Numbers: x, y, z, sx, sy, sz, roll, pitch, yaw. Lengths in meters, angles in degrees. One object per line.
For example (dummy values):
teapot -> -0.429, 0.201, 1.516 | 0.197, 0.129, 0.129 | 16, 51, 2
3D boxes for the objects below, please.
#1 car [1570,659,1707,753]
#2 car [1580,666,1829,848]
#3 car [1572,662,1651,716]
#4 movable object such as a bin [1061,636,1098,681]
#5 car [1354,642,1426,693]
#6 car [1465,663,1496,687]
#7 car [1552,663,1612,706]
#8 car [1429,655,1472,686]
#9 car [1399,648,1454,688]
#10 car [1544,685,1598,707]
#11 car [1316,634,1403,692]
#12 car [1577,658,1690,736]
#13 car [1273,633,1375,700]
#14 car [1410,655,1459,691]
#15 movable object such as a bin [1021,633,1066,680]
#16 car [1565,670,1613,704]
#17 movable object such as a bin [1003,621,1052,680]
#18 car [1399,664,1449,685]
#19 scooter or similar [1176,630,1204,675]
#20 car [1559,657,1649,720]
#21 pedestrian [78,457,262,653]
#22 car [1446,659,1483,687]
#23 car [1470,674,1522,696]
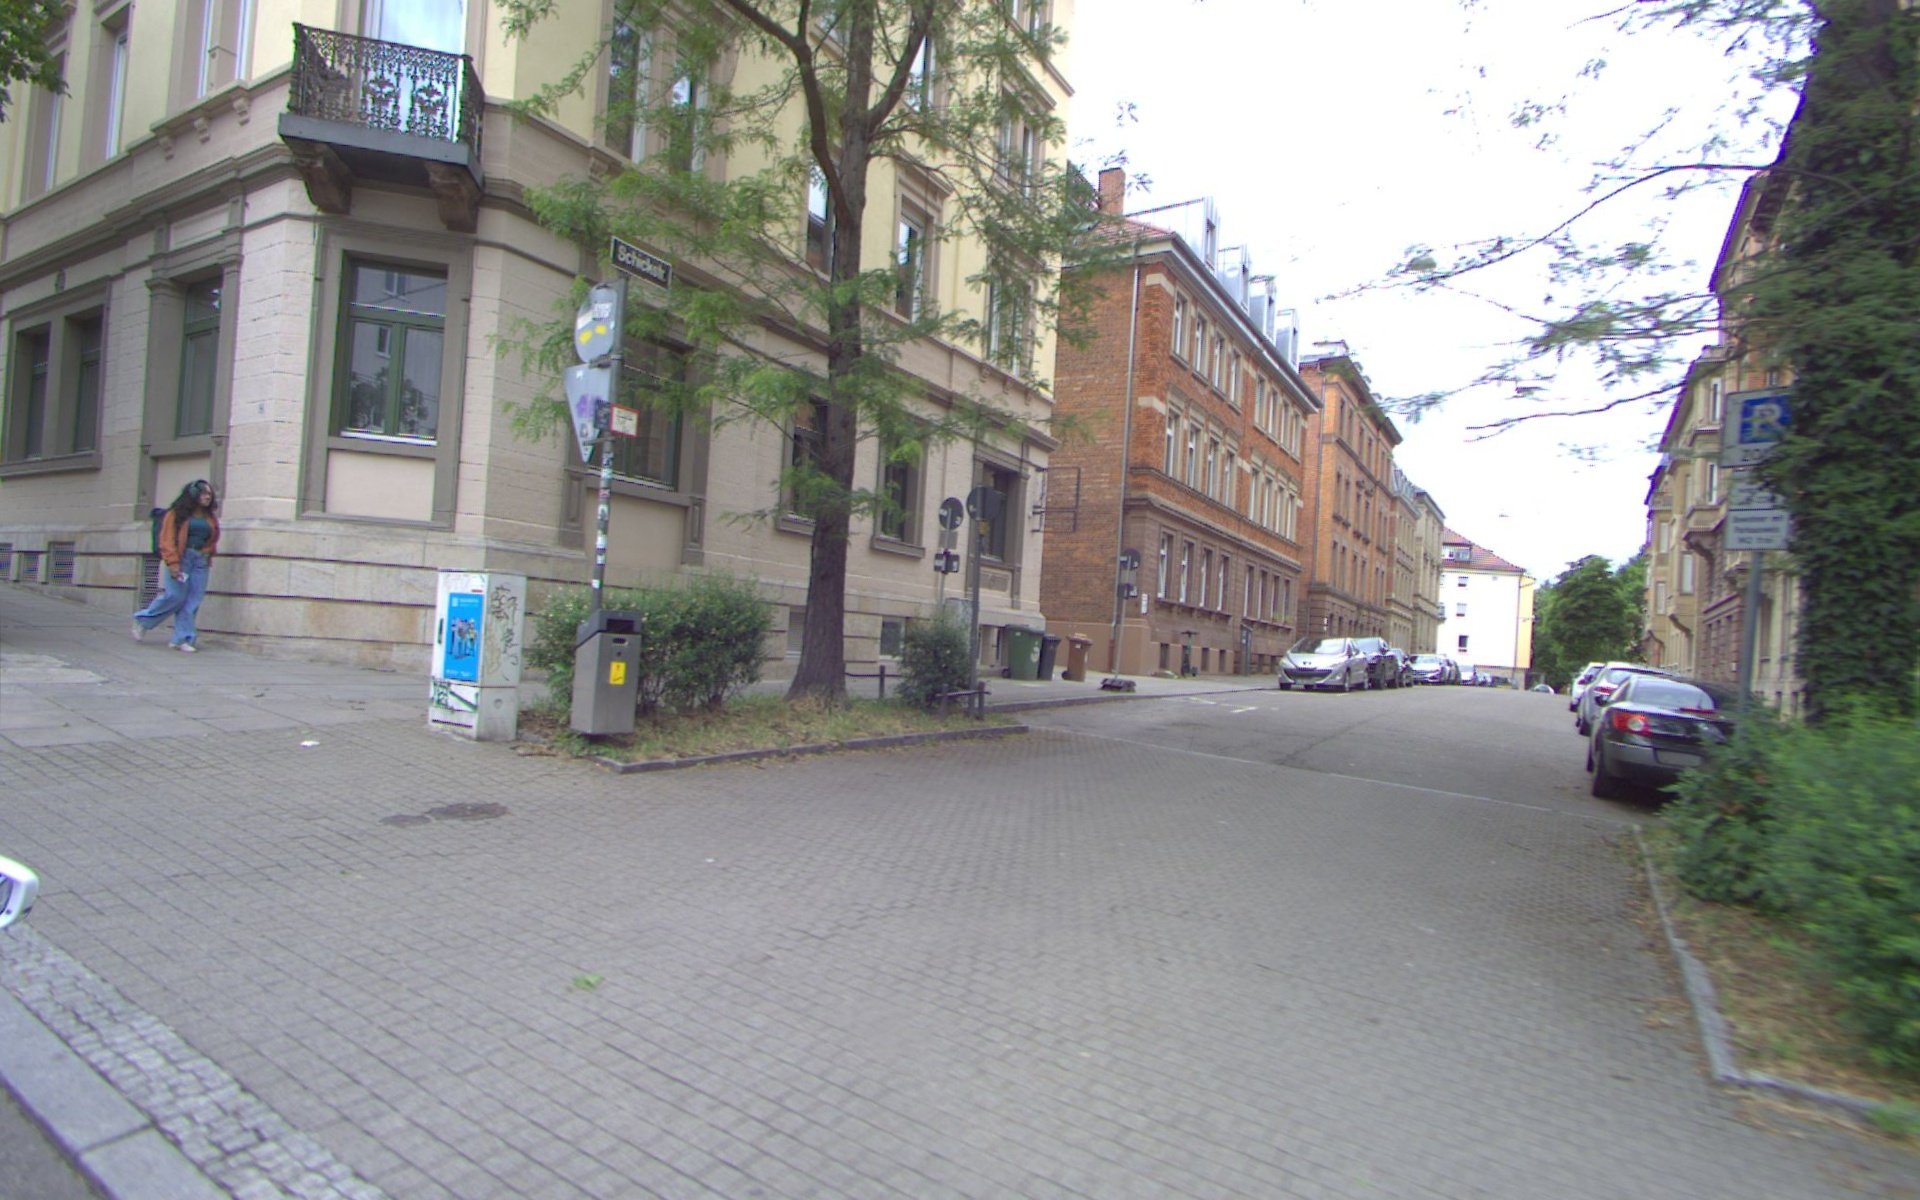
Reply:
car -> 13.010, 1.963, 19.517 | 1.781, 1.396, 4.091 | 7, 0, 30
car -> 8.494, 1.649, 11.858 | 1.781, 1.397, 4.088 | 7, 2, 30
car -> 20.743, 2.792, 32.154 | 1.781, 1.396, 4.036 | 7, 0, 30
movable object such as a bin -> 2.531, 1.235, 21.282 | 0.539, 0.893, 0.488 | 7, 2, 32
car -> 15.821, 2.426, 36.884 | 1.781, 1.492, 4.088 | 7, 2, 31
car -> 40.577, 5.842, 78.362 | 1.781, 1.492, 4.088 | 7, 2, 31
car -> 24.773, 3.384, 40.157 | 1.781, 1.395, 4.039 | 7, -1, 30
car -> 28.801, 4.107, 59.006 | 1.781, 1.492, 4.088 | 7, 2, 31
car -> 21.623, 3.102, 46.534 | 1.781, 1.492, 4.088 | 7, 2, 31
car -> 59.889, 9.389, 98.625 | 4.021, 1.492, 1.810 | 6, 2, 7
car -> 12.644, 1.937, 31.709 | 1.781, 1.492, 4.088 | 7, 2, 31
car -> 15.458, 2.165, 23.274 | 1.781, 1.396, 4.036 | 7, 1, 30
car -> 10.095, 1.763, 27.694 | 1.781, 1.492, 4.088 | 7, 2, 31
car -> 24.513, 3.710, 51.863 | 1.781, 1.492, 4.088 | 7, 2, 31
movable object such as a bin -> 1.685, 1.148, 20.331 | 0.619, 0.863, 0.600 | 7, 2, 32
car -> 31.422, 4.333, 50.350 | 1.781, 1.396, 4.037 | 7, 0, 30
movable object such as a bin -> 1.326, 0.990, 19.734 | 0.619, 1.082, 0.663 | 7, 2, 32
car -> 46.141, 7.398, 100.026 | 4.021, 1.492, 1.810 | 6, 2, 7
scooter or similar -> 6.558, 1.508, 28.699 | 0.320, 1.220, 1.115 | 6, 0, 31
car -> 17.899, 2.458, 28.105 | 1.781, 1.396, 4.038 | 7, 0, 30
pedestrian -> -7.530, -0.417, 9.611 | 1.105, 1.683, 0.712 | 8, 1, 13
car -> 33.697, 4.836, 67.115 | 1.781, 1.492, 4.088 | 7, 2, 31
car -> 52.911, 8.377, 99.282 | 4.021, 1.492, 1.810 | 6, 2, 7
